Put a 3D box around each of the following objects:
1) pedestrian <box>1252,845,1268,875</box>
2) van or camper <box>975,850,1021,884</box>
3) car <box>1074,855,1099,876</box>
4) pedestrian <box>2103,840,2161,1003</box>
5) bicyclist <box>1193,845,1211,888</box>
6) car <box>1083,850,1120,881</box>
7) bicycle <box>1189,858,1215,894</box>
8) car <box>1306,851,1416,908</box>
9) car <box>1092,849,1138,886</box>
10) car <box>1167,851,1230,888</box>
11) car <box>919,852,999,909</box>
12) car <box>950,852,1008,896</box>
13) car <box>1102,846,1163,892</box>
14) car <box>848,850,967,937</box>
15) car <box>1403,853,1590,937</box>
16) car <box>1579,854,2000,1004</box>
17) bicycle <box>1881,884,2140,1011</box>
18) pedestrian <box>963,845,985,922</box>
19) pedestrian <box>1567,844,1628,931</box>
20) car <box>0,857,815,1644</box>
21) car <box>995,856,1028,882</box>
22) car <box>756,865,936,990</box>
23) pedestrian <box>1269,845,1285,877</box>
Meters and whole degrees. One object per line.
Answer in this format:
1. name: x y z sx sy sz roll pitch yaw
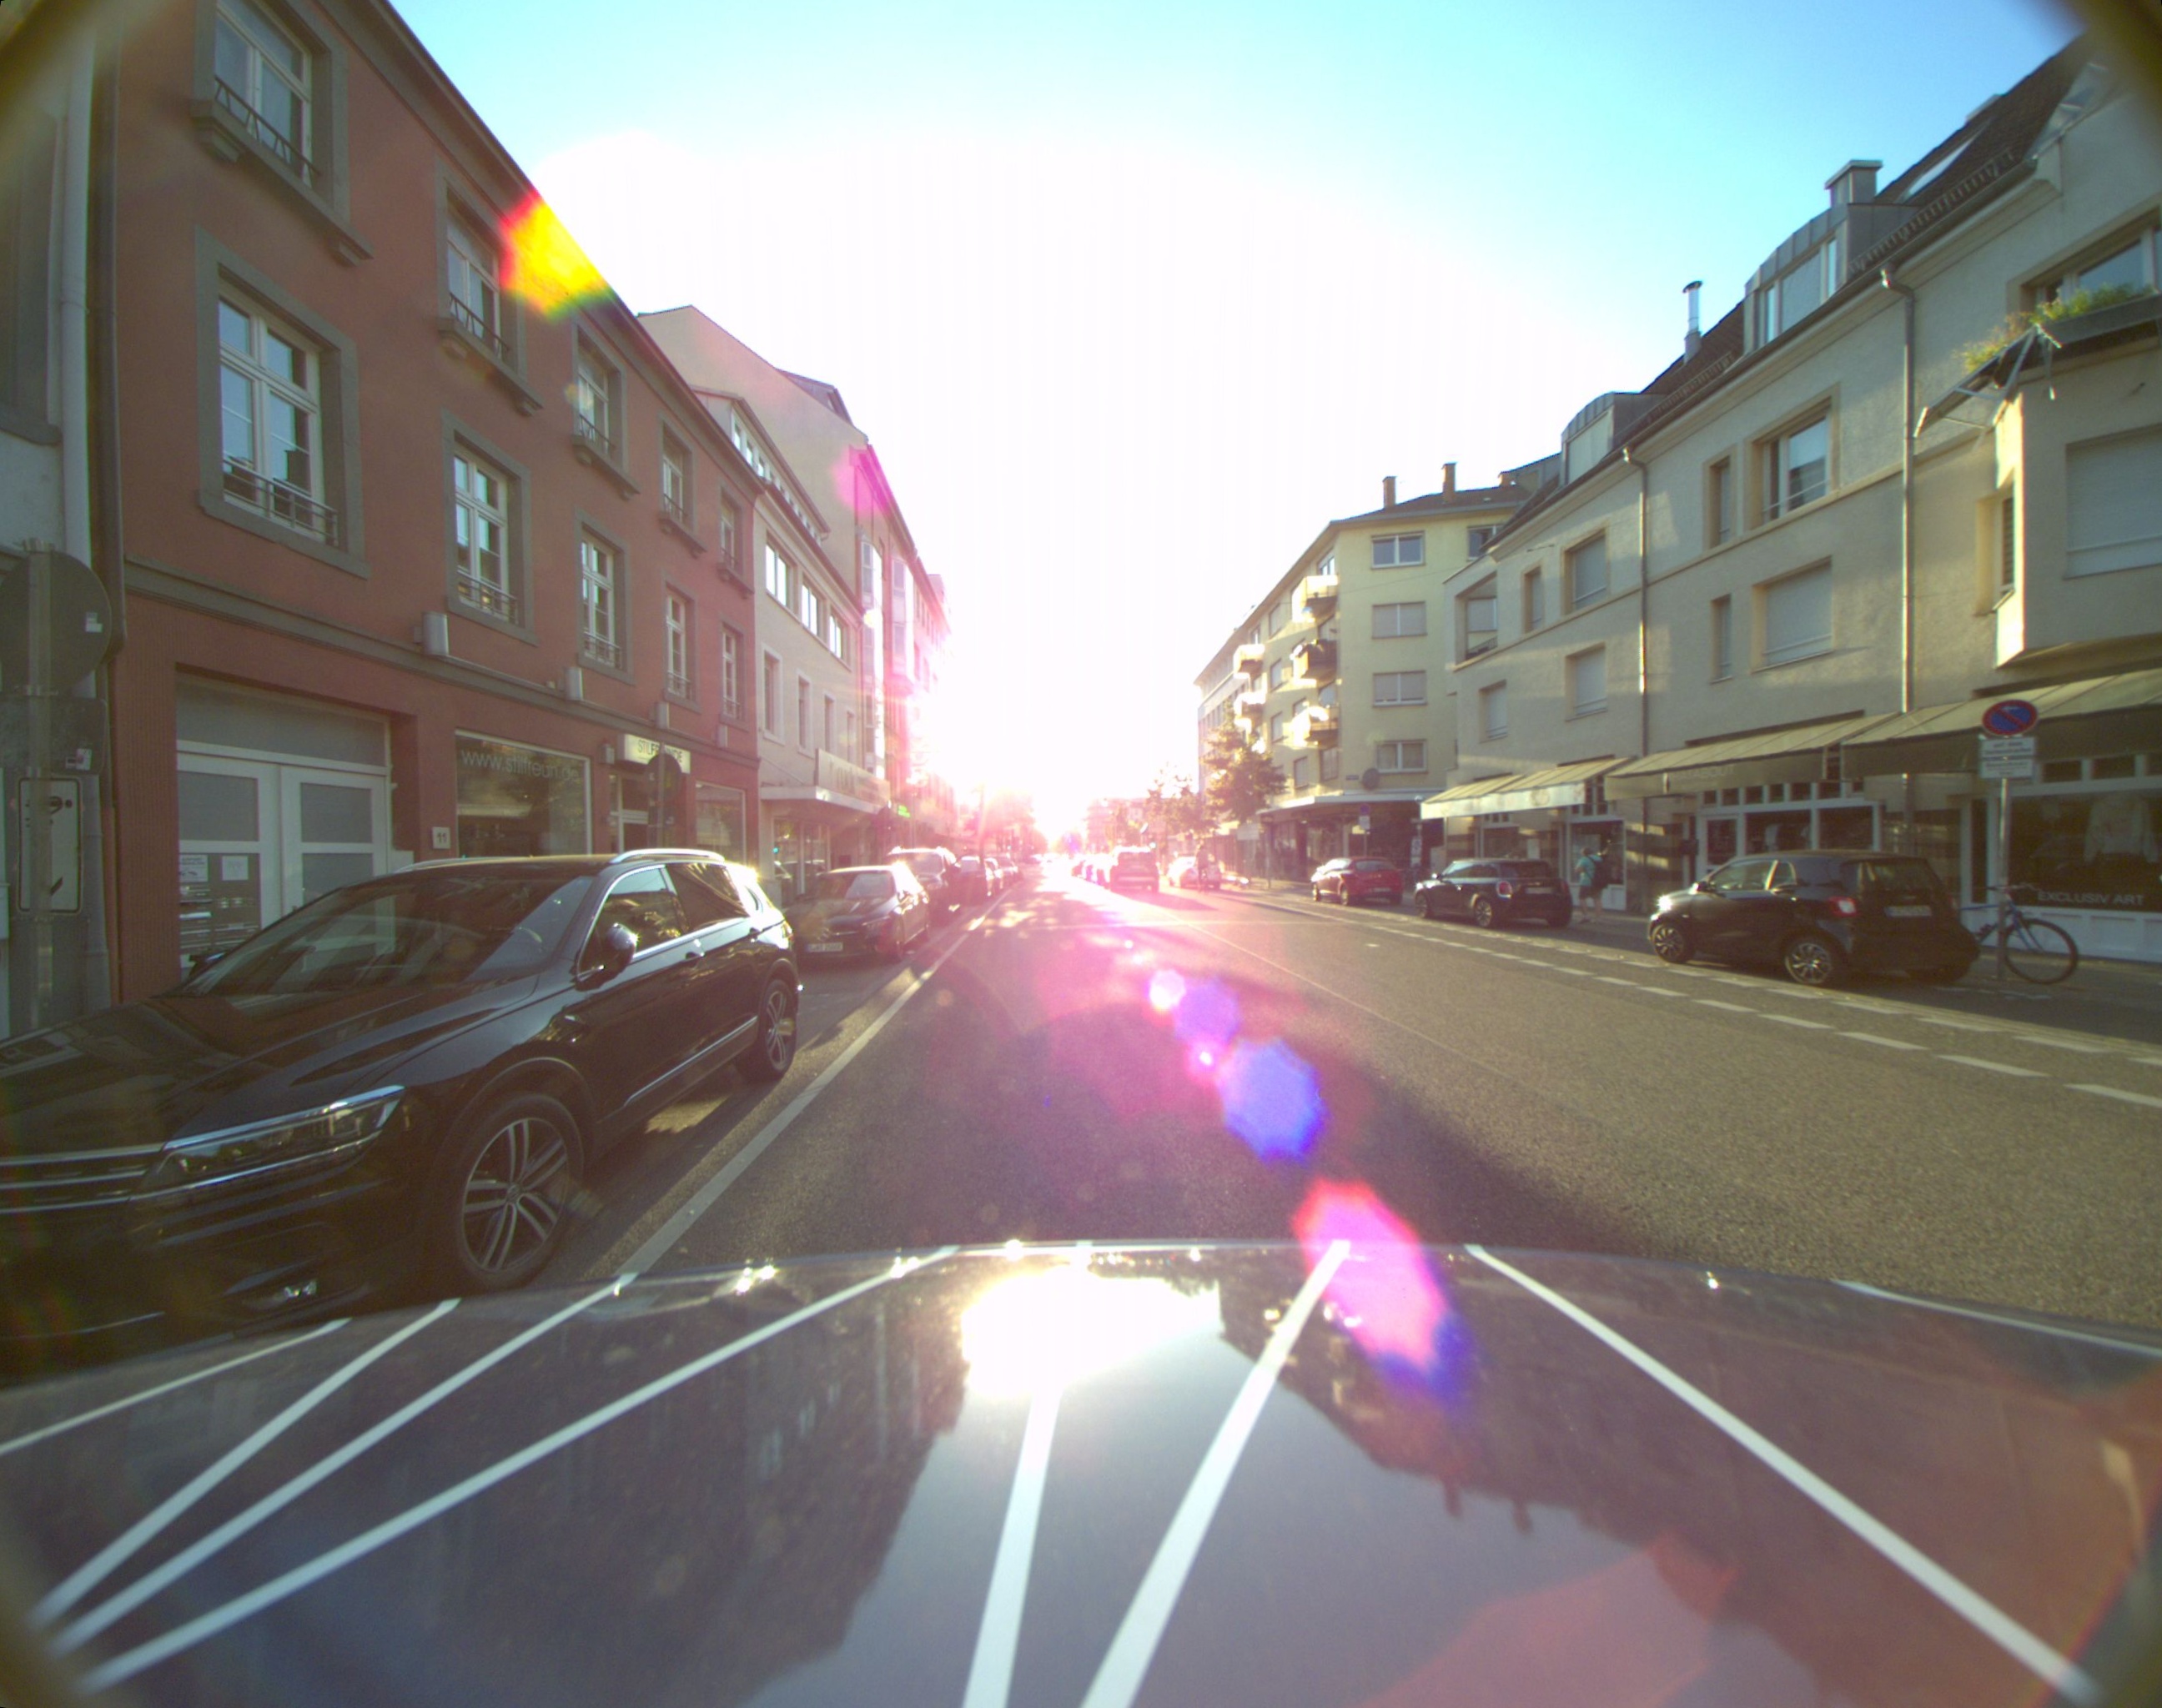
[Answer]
1. pedestrian: 10.588 0.359 44.964 0.720 1.781 0.666 -1 1 -1
2. van or camper: -4.578 0.648 41.217 1.795 1.763 4.551 -1 1 -15
3. car: 0.372 0.795 54.077 1.503 1.426 4.026 1 1 -3
4. pedestrian: 11.559 0.701 7.832 0.632 1.690 1.040 -1 1 -3
5. bicyclist: 4.458 0.453 28.018 0.548 1.571 0.803 -1 1 1
6. car: 1.162 0.641 44.537 1.843 1.639 4.299 1 1 -2
7. bicycle: 4.497 0.787 28.324 0.665 1.235 2.130 1 1 1
8. car: 8.488 0.724 23.408 1.794 1.571 3.785 -1 1 -4
9. car: 1.605 0.613 37.022 1.843 1.639 4.299 1 1 -2
10. car: 5.339 0.681 35.156 1.999 1.595 4.403 0 0 -3
11. car: -4.013 0.812 25.729 1.999 1.645 4.626 -2 1 -1
12. car: -4.138 0.769 31.438 1.999 1.645 4.478 -1 1 -3
13. car: 1.970 0.542 30.047 1.843 1.639 4.298 1 1 -3
14. car: -4.070 0.819 18.764 1.999 1.767 5.316 -2 1 -4
15. car: 8.792 0.780 16.482 1.794 1.571 3.785 -1 1 -4
16. car: 8.969 0.803 10.189 1.794 1.571 3.965 -1 1 -4
17. bicycle: 10.522 0.995 8.741 0.560 1.199 1.977 0 1 0
18. pedestrian: -2.599 0.708 18.455 0.485 1.847 0.539 -1 1 -10
19. pedestrian: 10.483 0.659 15.441 0.720 1.724 0.738 -1 1 -2
20. car: -2.991 0.924 3.883 1.799 1.688 4.458 -3 1 -3
21. car: -4.238 0.886 46.613 1.694 1.494 3.786 0 1 0
22. car: -3.574 1.017 12.428 1.689 1.479 4.409 -3 1 -3
23. pedestrian: 11.051 0.412 42.819 0.720 1.781 0.666 -1 1 -1
